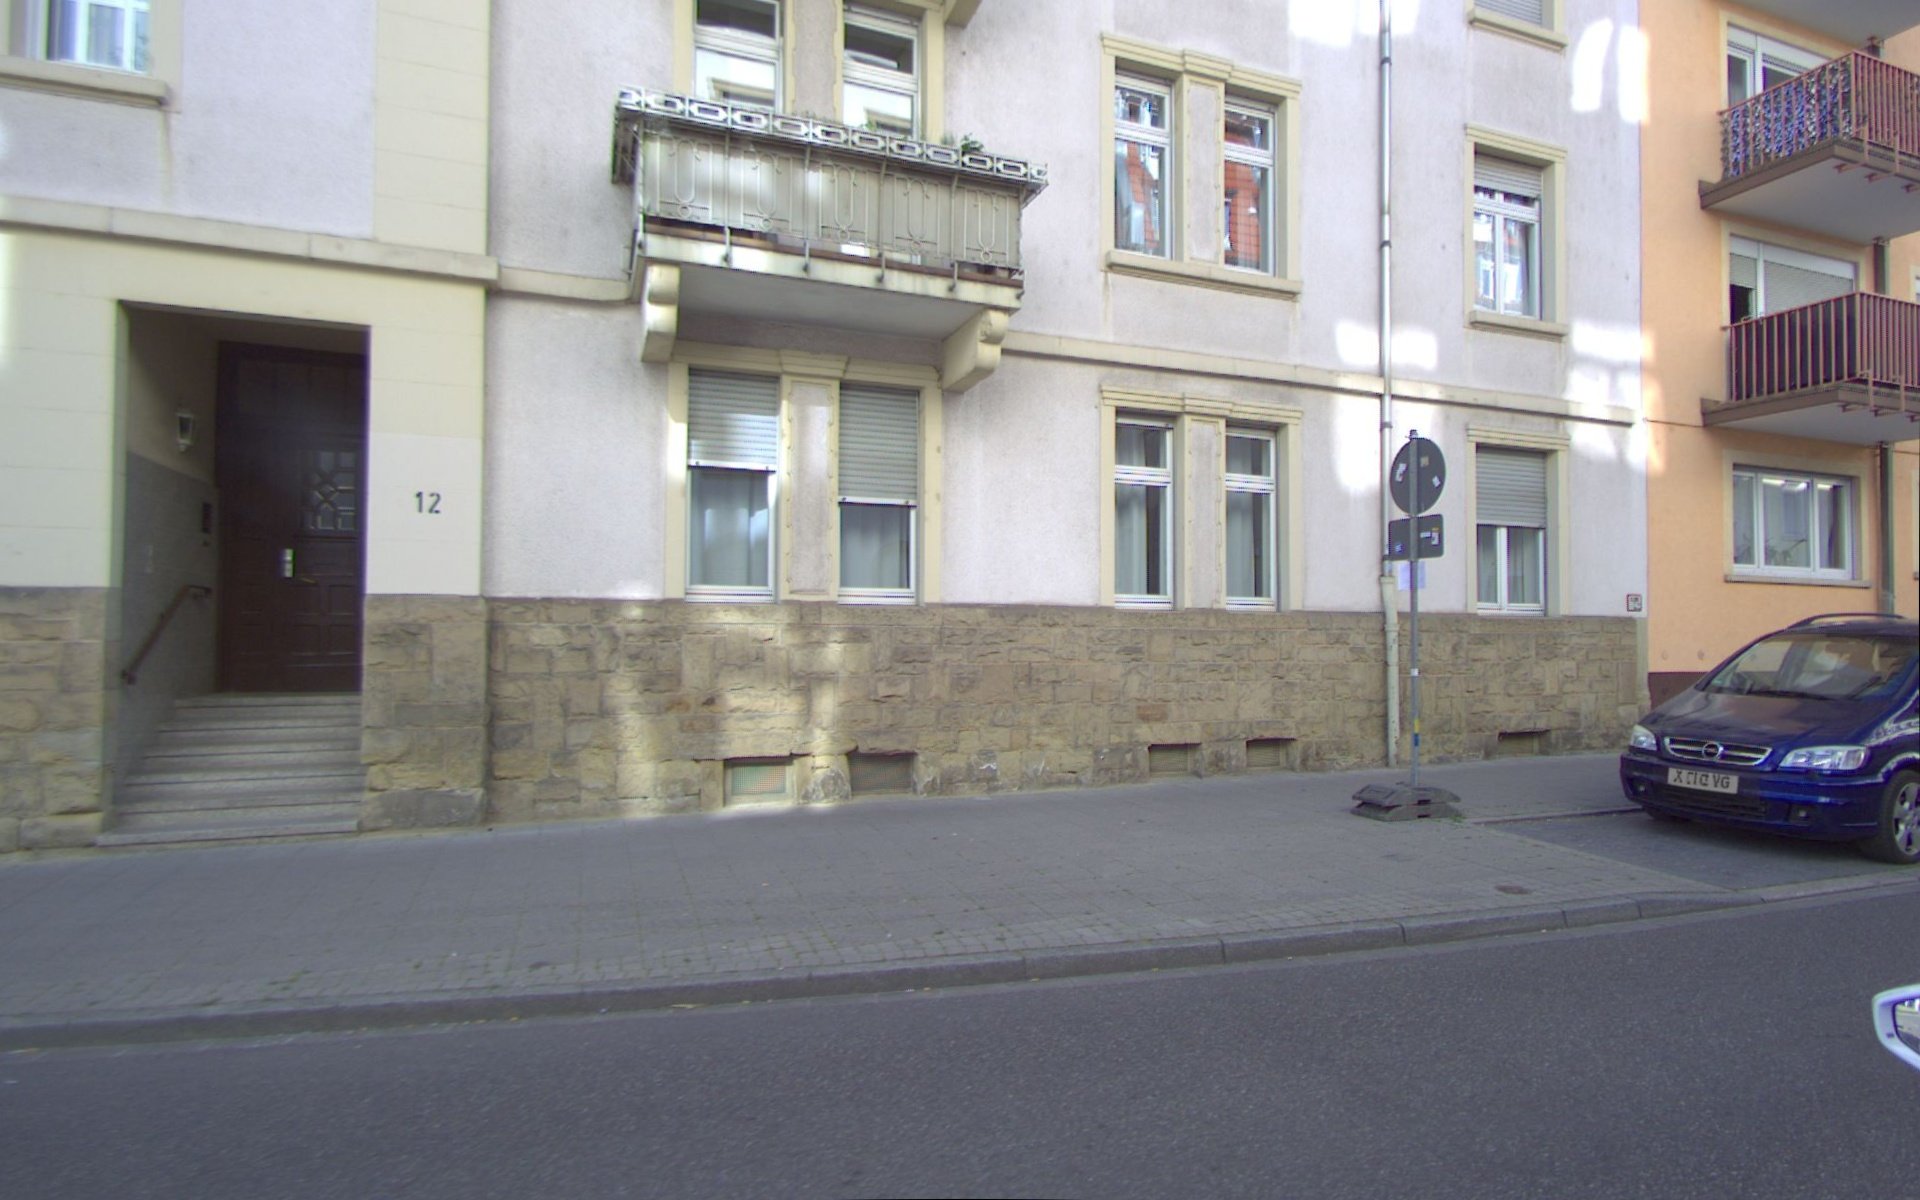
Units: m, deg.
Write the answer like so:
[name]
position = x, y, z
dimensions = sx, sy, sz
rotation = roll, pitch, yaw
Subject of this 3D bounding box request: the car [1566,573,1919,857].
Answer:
[car]
position = 7.116, 0.779, 7.945
dimensions = 4.230, 1.794, 1.760
rotation = 1, -1, -21
